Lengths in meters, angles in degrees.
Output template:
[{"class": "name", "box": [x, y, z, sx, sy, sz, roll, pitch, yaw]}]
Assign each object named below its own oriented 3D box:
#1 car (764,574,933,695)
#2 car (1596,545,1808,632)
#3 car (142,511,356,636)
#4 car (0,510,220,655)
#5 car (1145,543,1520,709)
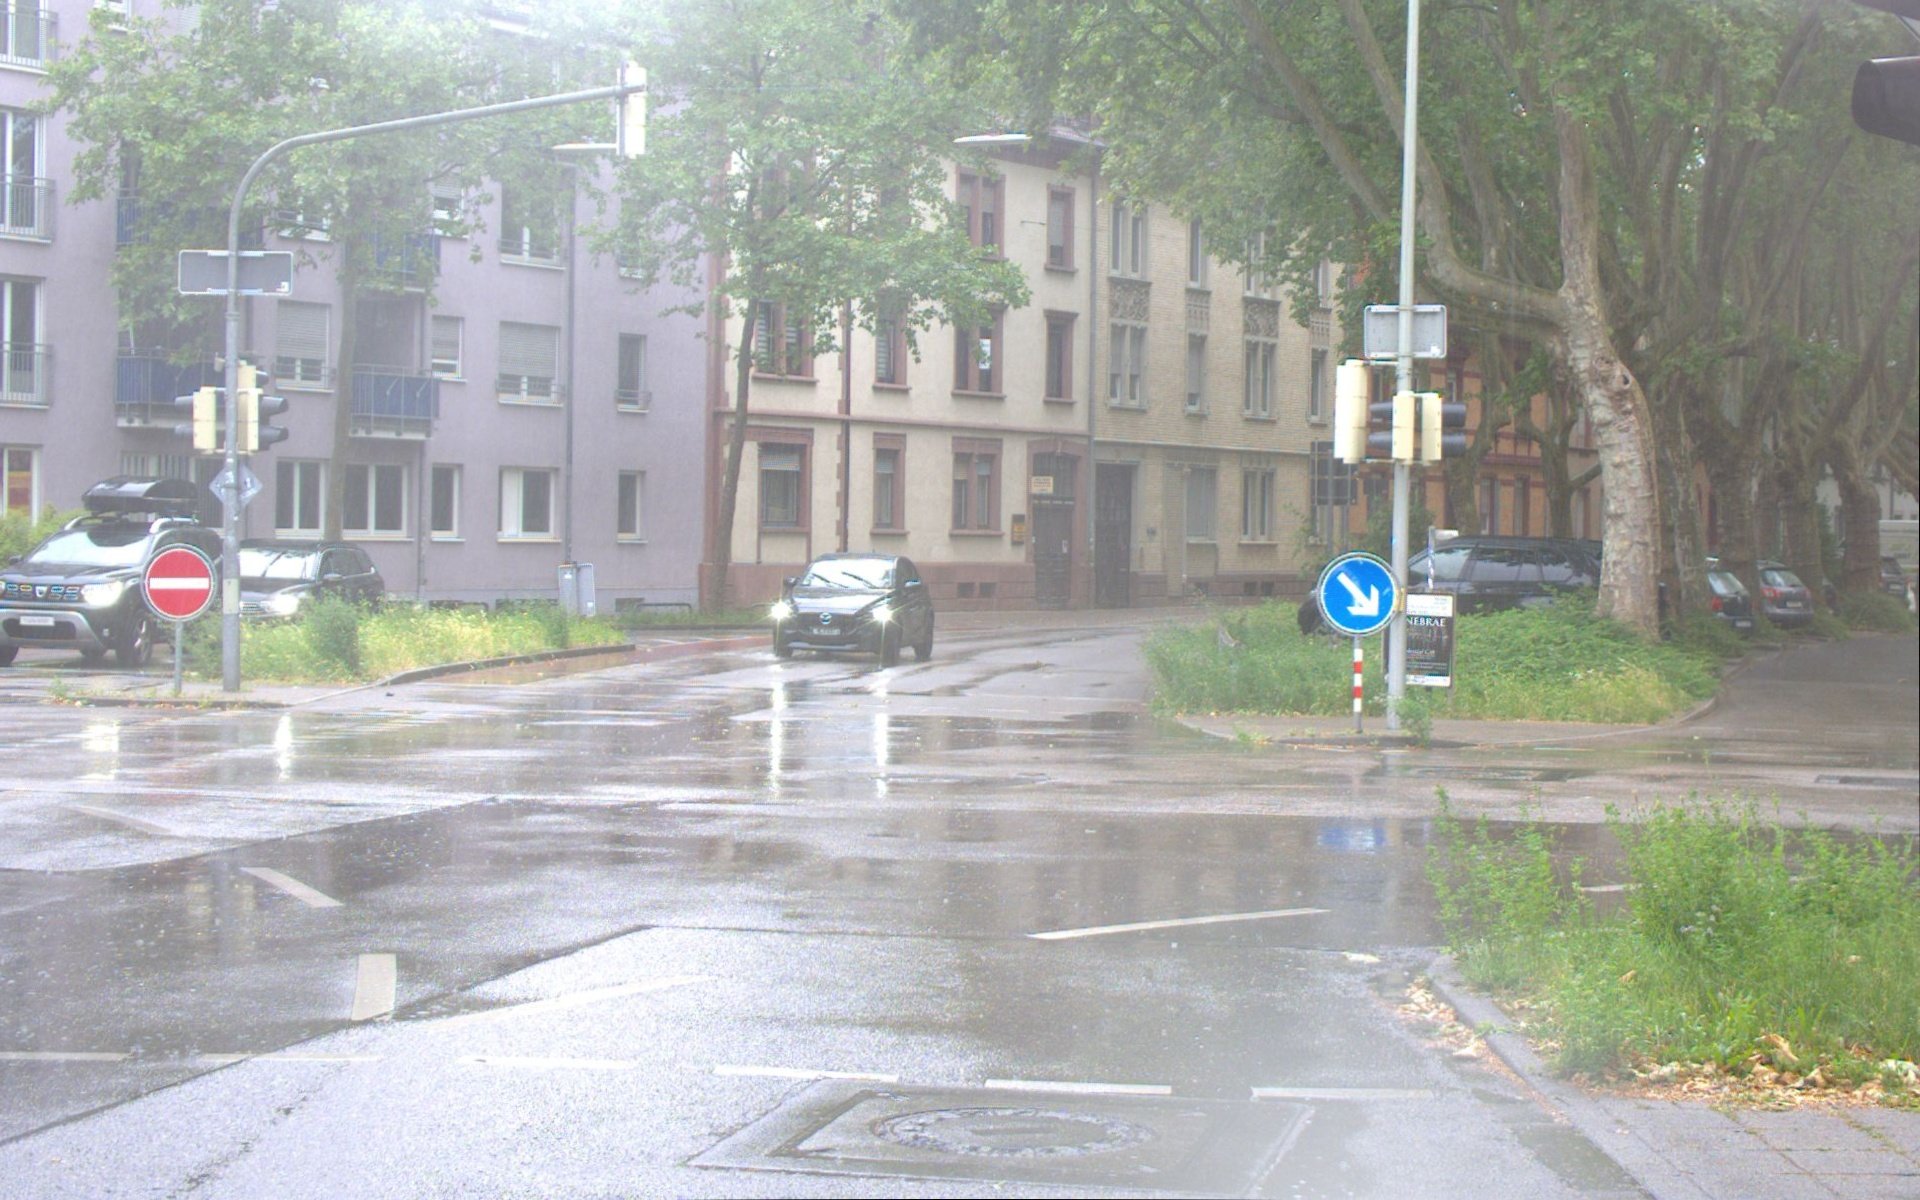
[{"class": "car", "box": [-1.512, 0.455, 47.790, 1.603, 1.547, 3.558, 0, 1, 10]}, {"class": "car", "box": [14.116, -0.225, 65.418, 3.611, 1.612, 1.679, 0, 1, 28]}, {"class": "car", "box": [-9.203, -0.367, 44.751, 1.725, 1.547, 3.559, -1, 1, 5]}, {"class": "car", "box": [-9.759, -0.225, 38.845, 1.725, 1.547, 3.559, -1, 1, 5]}, {"class": "car", "box": [3.585, 0.241, 32.949, 3.480, 1.518, 1.519, -1, 1, 9]}]
